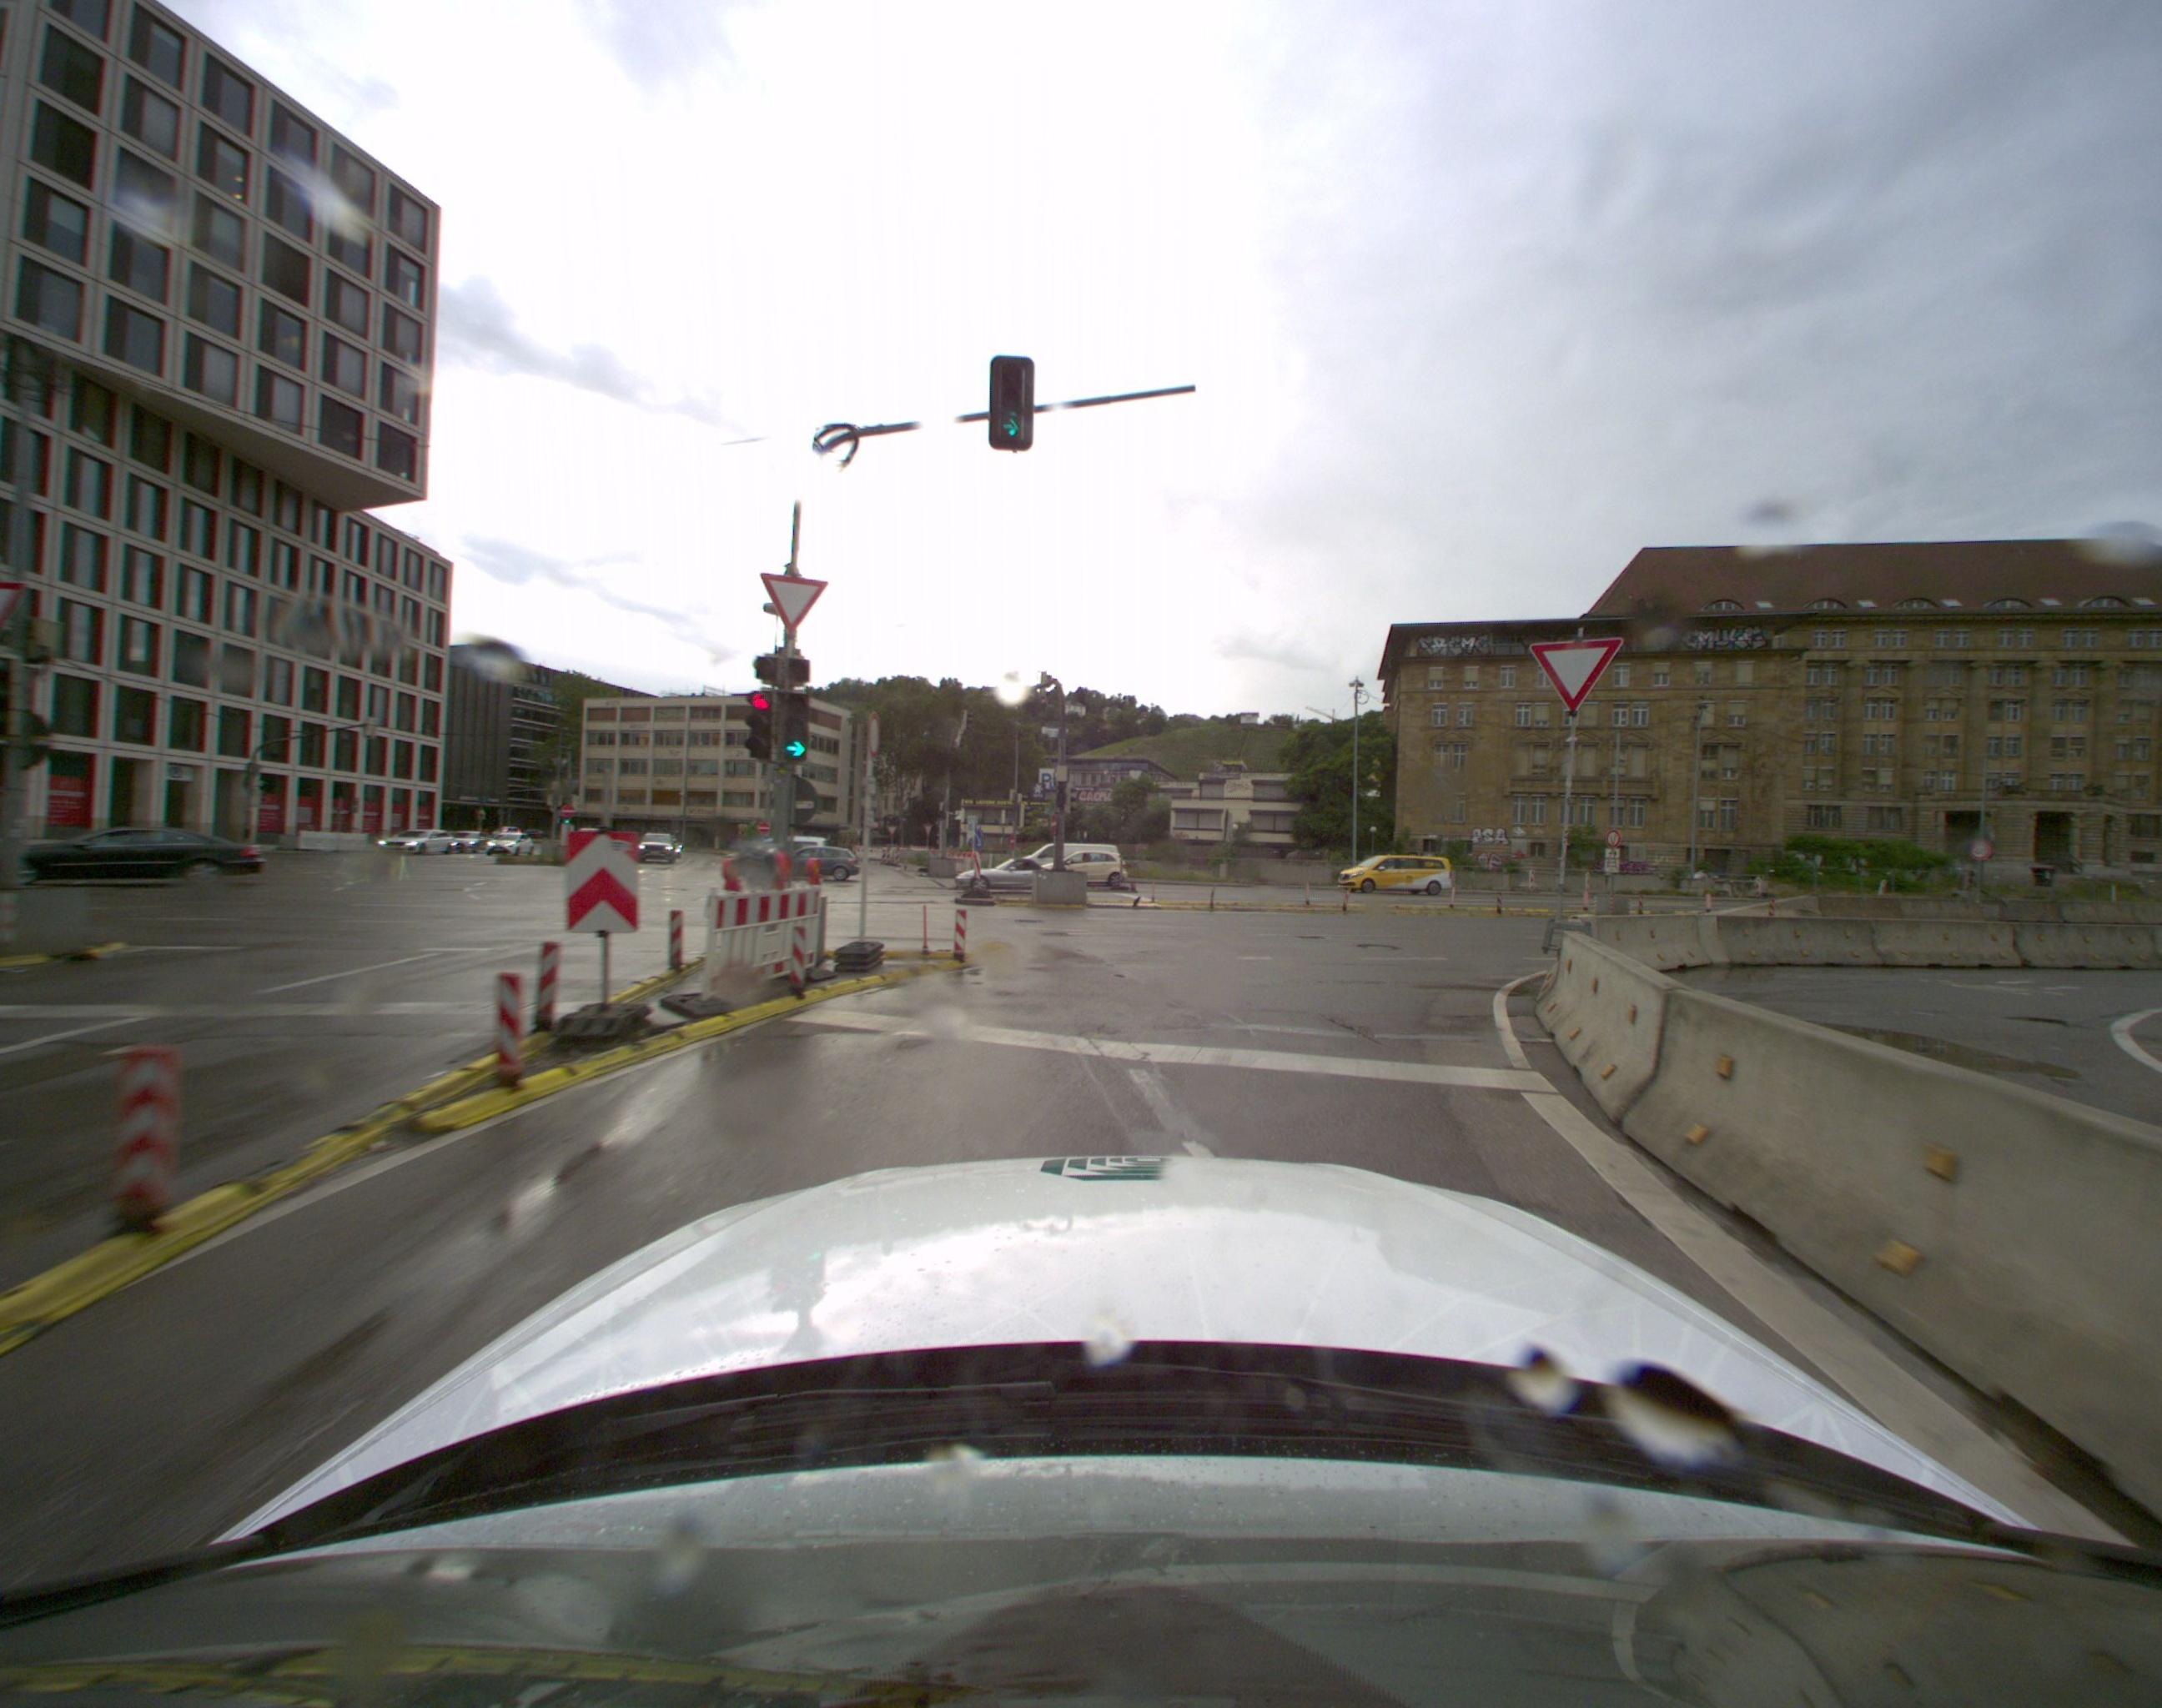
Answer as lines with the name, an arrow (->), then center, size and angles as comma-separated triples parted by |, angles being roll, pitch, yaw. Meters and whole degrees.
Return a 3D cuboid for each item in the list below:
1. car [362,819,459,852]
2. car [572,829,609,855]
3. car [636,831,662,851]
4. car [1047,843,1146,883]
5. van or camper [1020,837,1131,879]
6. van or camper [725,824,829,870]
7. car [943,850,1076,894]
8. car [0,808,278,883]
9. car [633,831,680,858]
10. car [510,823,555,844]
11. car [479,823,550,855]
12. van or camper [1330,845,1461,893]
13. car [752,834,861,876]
car -> -38.710, -1.055, 47.214 | 2.223, 1.753, 4.795 | 2, 0, -11
car -> -32.511, -0.796, 54.057 | 1.895, 1.557, 3.964 | 2, 0, -29
car -> -38.624, -1.164, 72.825 | 1.776, 1.574, 3.966 | 4, -1, -26
car -> 0.683, 0.407, 37.684 | 4.361, 1.673, 1.844 | 2, 1, -7
van or camper -> -0.298, 0.188, 40.569 | 5.199, 1.893, 1.880 | 2, 1, -12
van or camper -> -14.201, -0.323, 38.277 | 4.245, 1.978, 1.844 | 2, 0, -12
car -> -2.545, 0.625, 28.790 | 4.514, 1.309, 1.637 | 2, 1, -10
car -> -22.546, -0.185, 19.426 | 1.993, 1.598, 4.691 | 3, 1, 42
car -> -25.270, -0.594, 48.584 | 1.835, 1.486, 3.975 | 2, 1, -19
car -> -60.760, -2.271, 90.184 | 3.955, 2.014, 2.009 | 4, -1, 19
car -> -35.420, -0.936, 51.037 | 1.797, 1.815, 3.994 | 2, 1, -5
van or camper -> 15.354, 0.717, 39.940 | 5.586, 2.054, 2.240 | 2, 1, -9
car -> -11.727, 0.040, 35.020 | 4.170, 1.598, 1.844 | 2, 1, -12
